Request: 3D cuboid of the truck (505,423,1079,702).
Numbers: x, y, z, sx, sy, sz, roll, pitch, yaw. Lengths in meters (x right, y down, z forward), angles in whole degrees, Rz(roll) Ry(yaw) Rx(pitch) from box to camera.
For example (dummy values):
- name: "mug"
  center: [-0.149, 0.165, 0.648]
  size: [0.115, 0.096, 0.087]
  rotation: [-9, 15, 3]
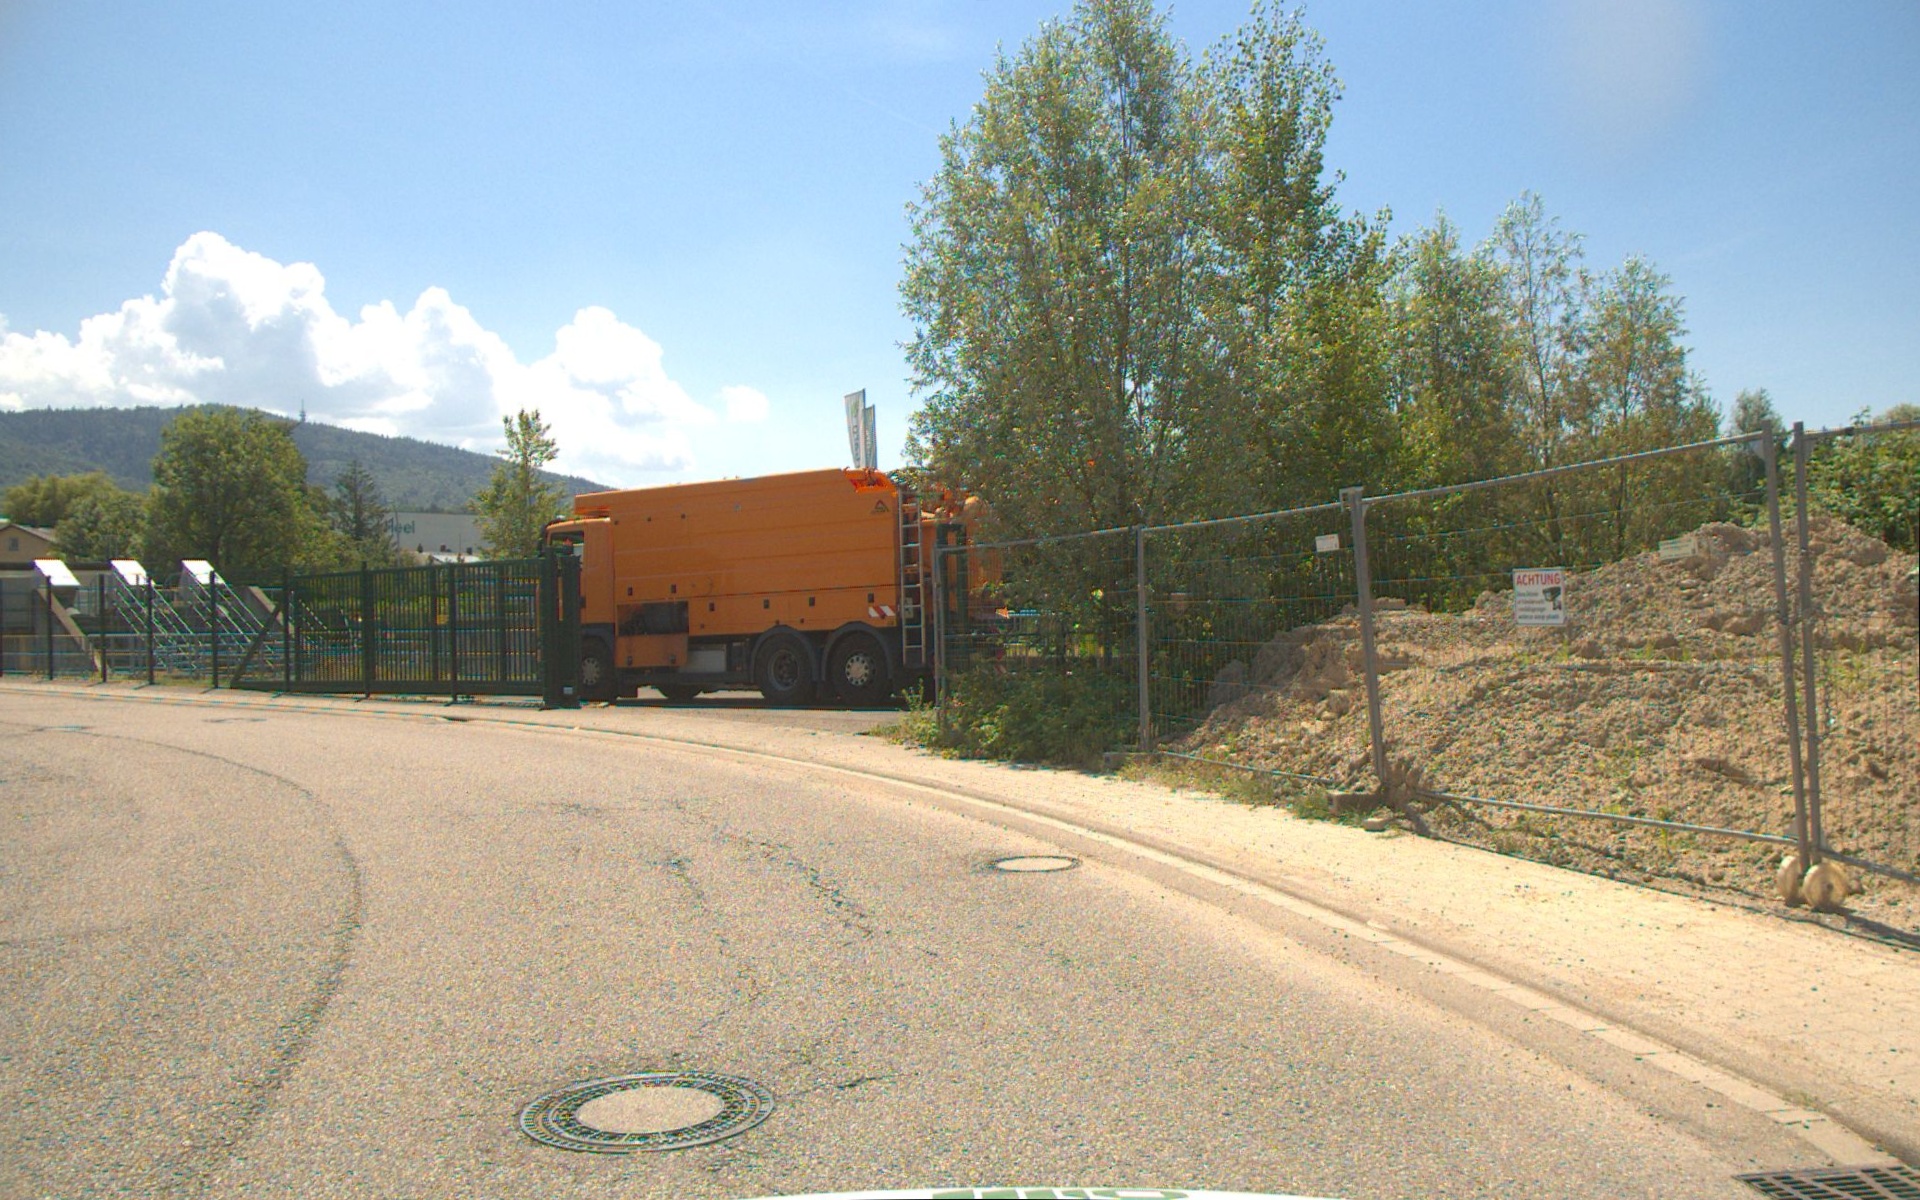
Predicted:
- name: "truck"
  center: [-2.800, -0.427, 26.888]
  size: [8.425, 3.873, 4.156]
  rotation: [-2, 0, 31]

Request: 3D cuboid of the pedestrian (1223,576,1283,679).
- name: "pedestrian"
  center: [5.395, 0.497, 30.481]
  size: [0.860, 1.857, 0.738]
  rotation: [-1, 0, 33]
